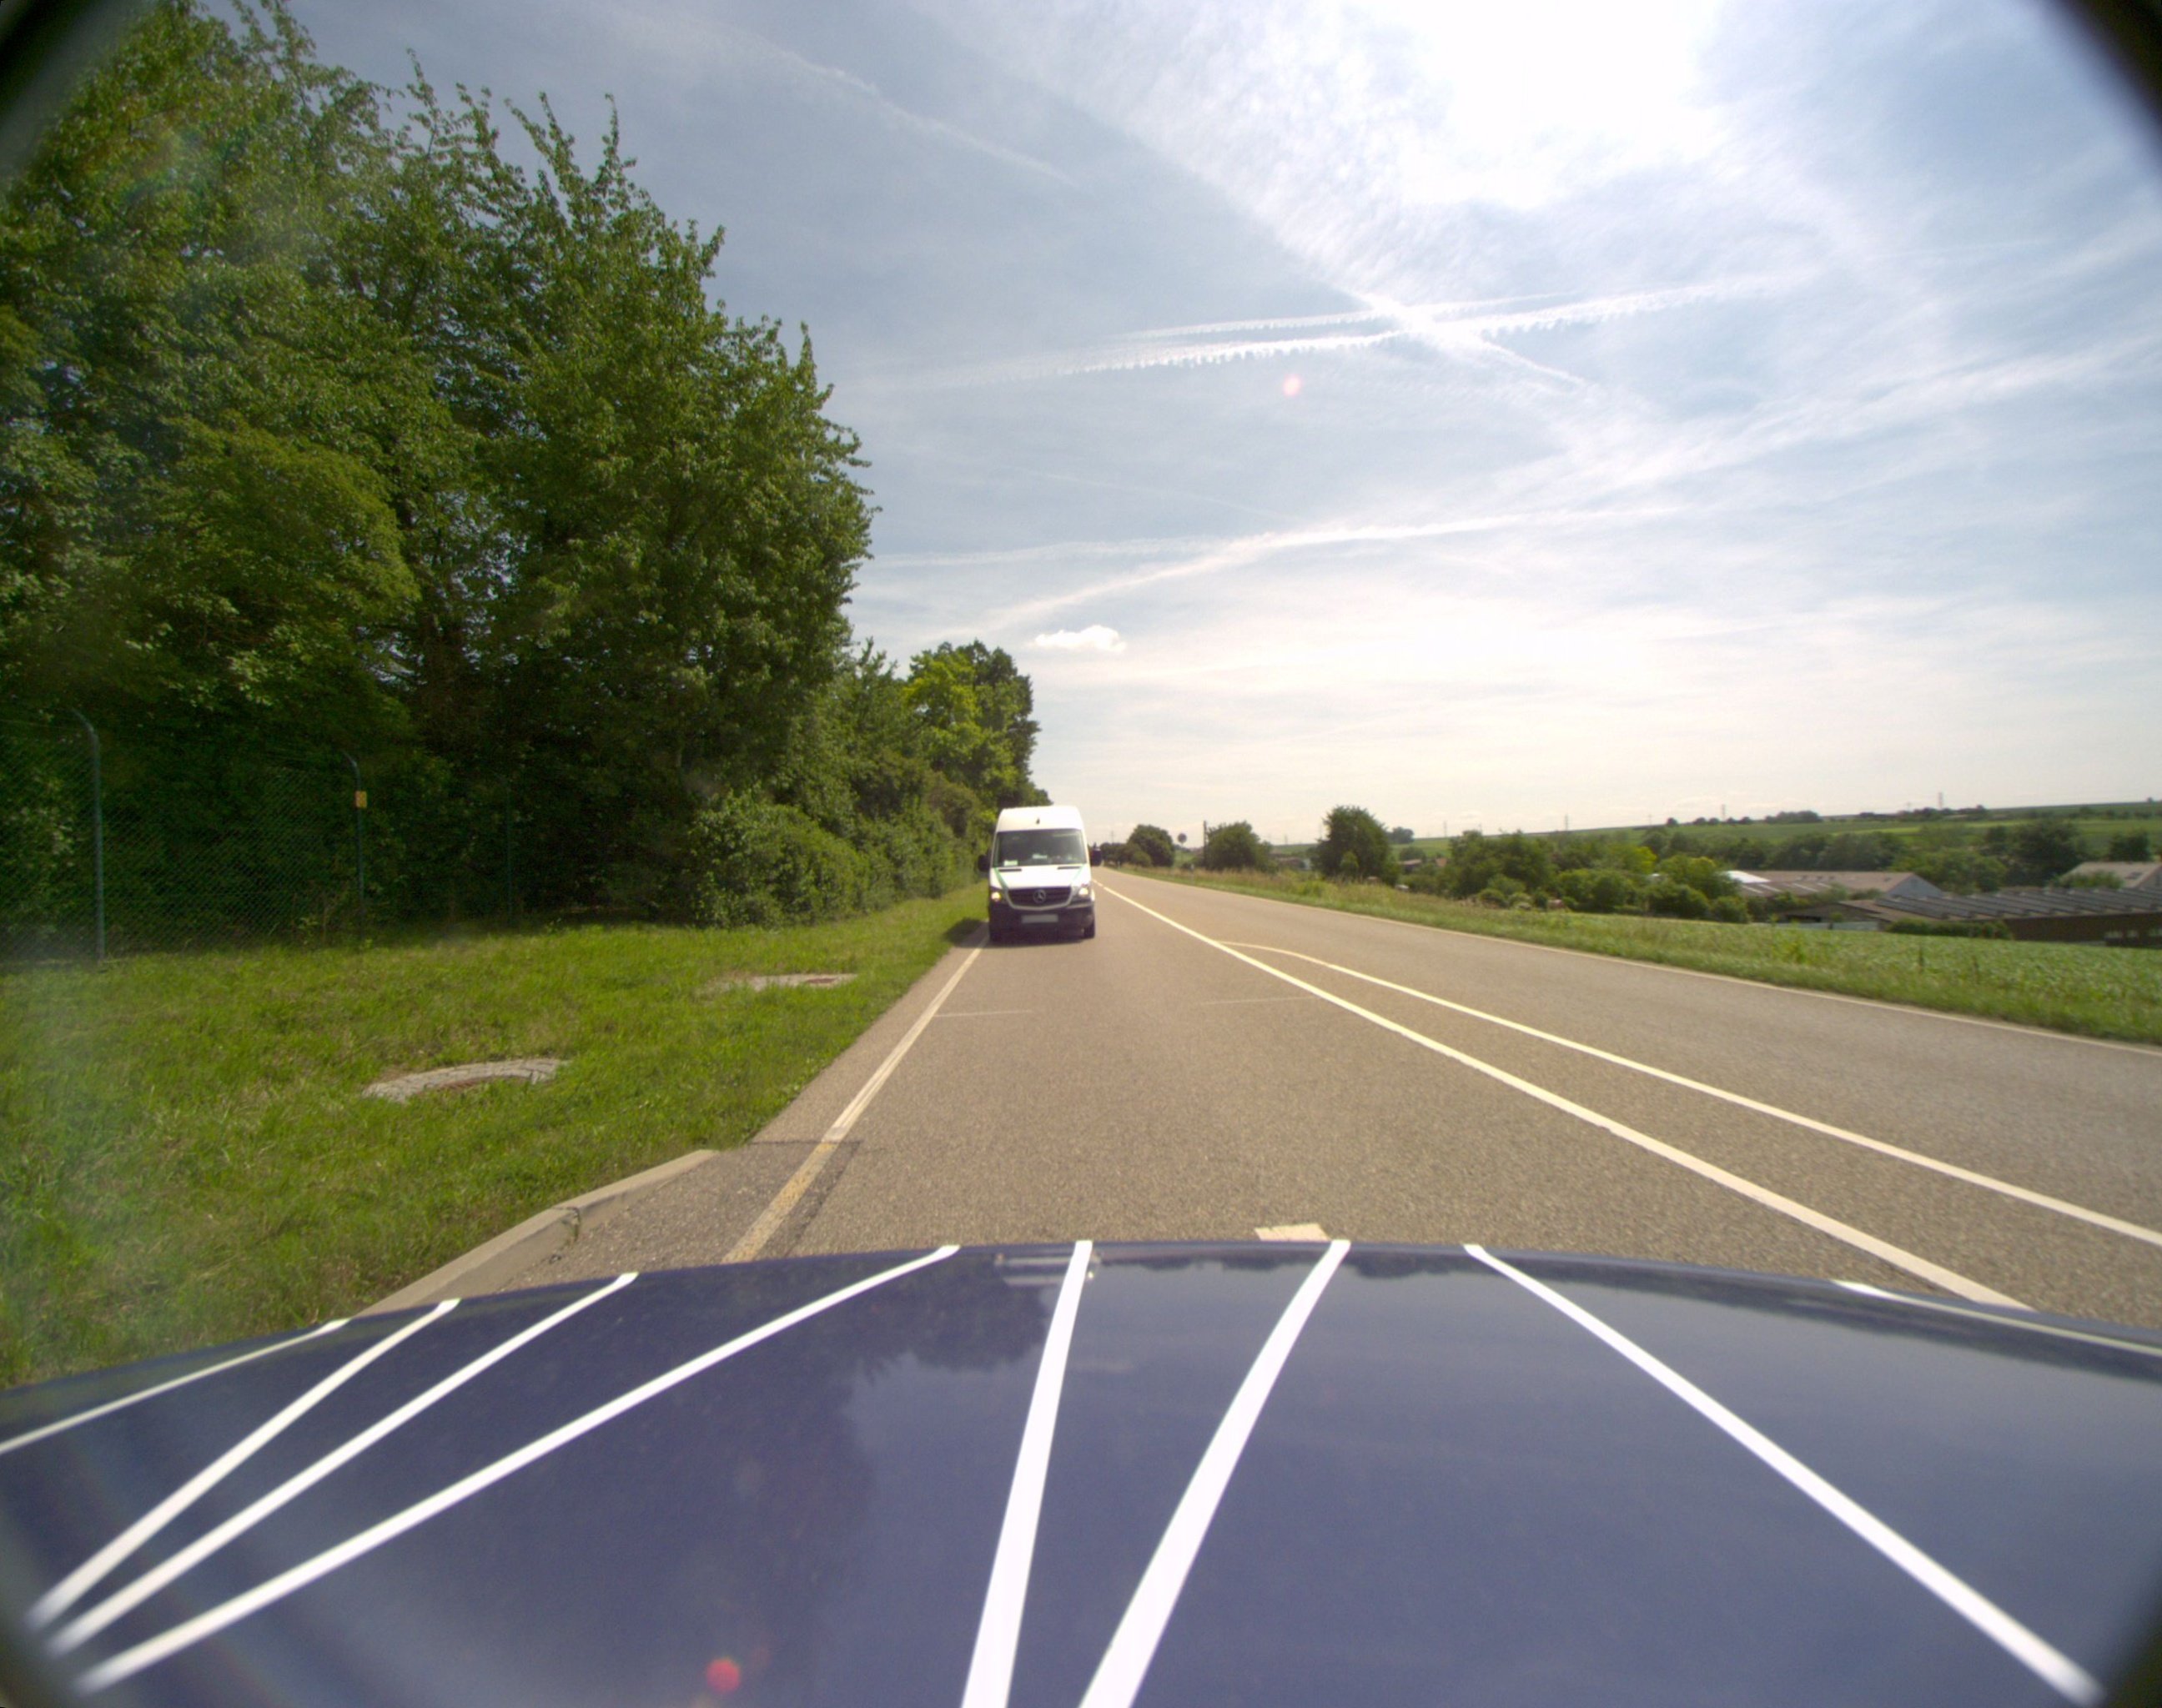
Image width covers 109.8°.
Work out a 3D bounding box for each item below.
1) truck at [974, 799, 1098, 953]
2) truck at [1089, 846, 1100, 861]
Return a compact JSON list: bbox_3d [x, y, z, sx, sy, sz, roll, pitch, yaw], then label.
[{"bbox_3d":[-0.711,0.374,16.666,2.023,2.567,7.225,-2,0,1],"label":"truck"},{"bbox_3d":[3.284,0.004,185.450,2.763,3.555,11.066,1,0,1],"label":"truck"}]
